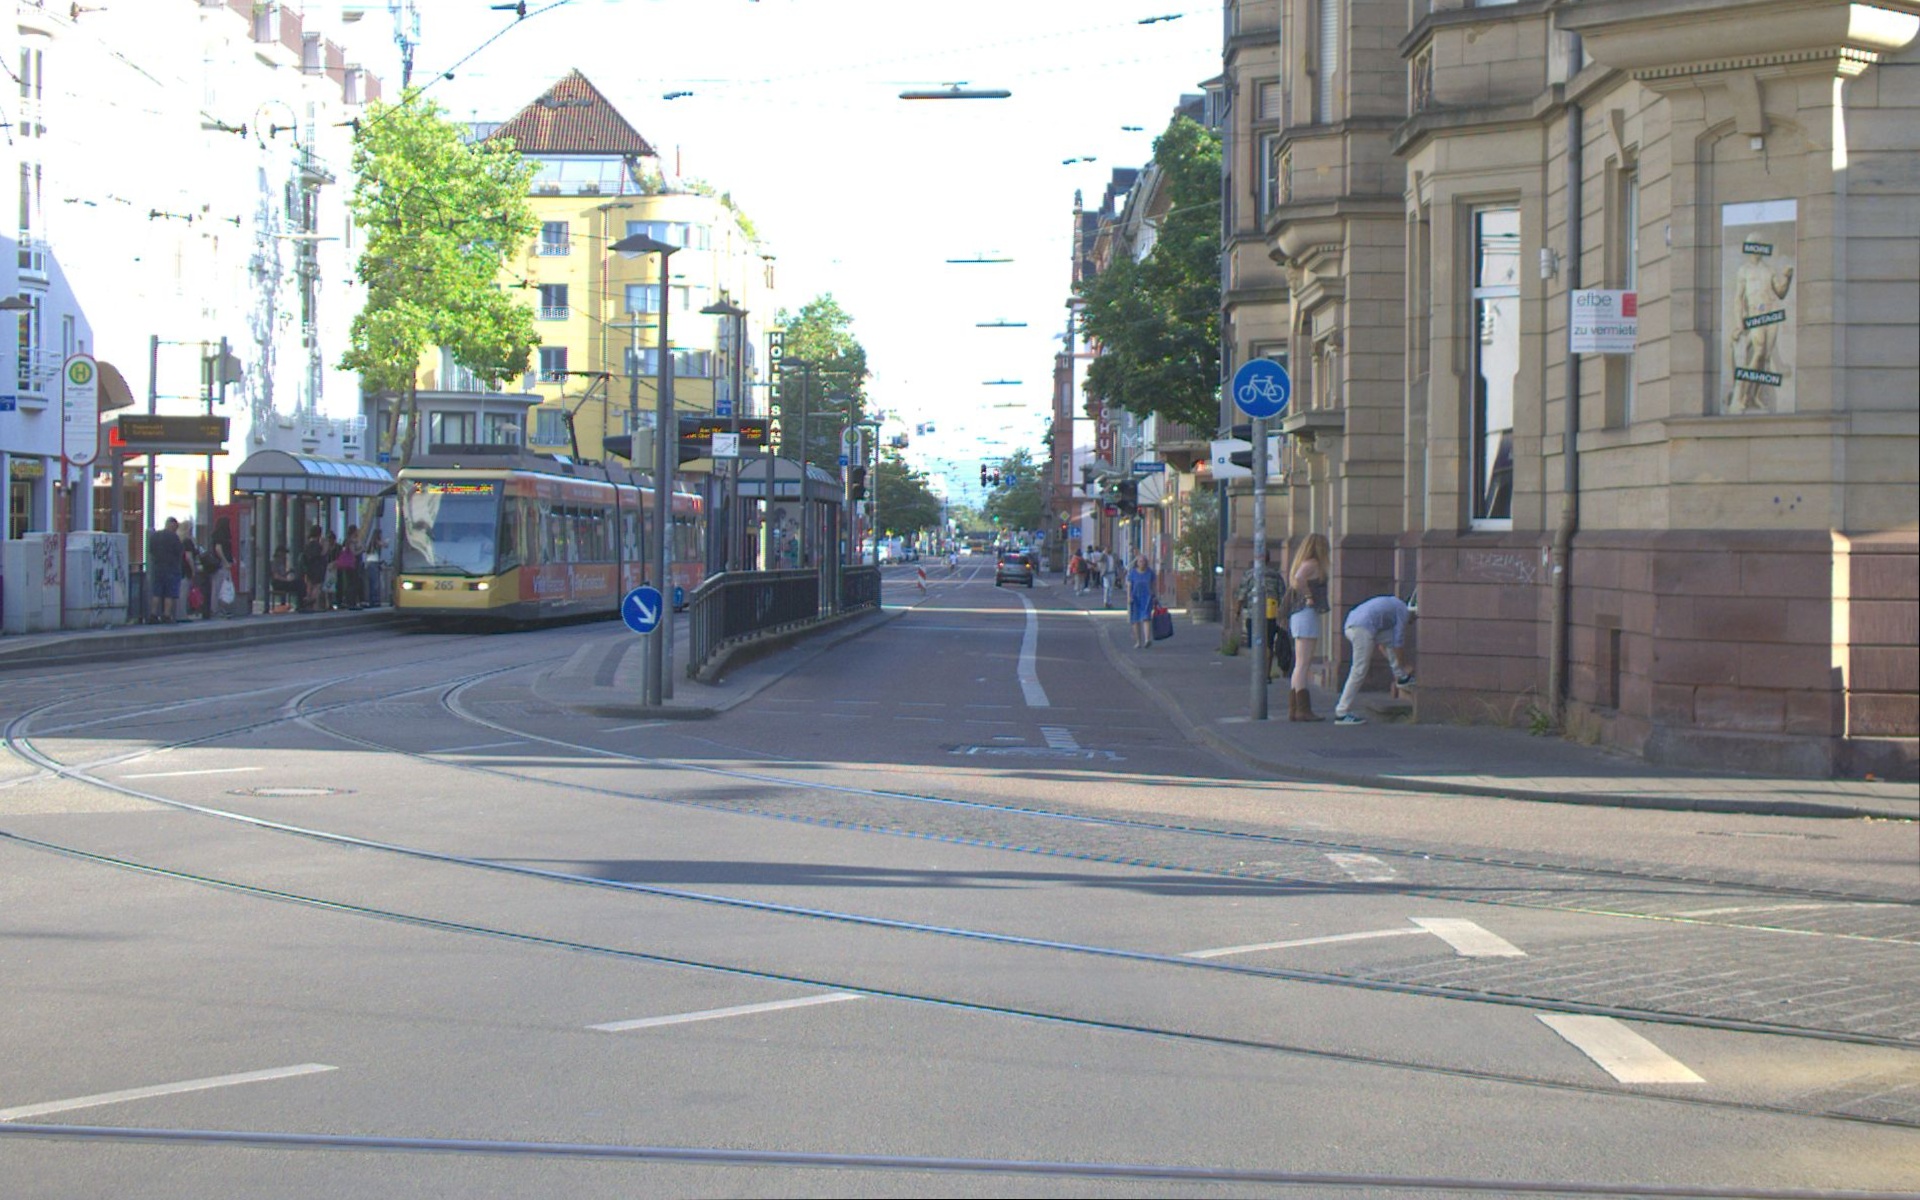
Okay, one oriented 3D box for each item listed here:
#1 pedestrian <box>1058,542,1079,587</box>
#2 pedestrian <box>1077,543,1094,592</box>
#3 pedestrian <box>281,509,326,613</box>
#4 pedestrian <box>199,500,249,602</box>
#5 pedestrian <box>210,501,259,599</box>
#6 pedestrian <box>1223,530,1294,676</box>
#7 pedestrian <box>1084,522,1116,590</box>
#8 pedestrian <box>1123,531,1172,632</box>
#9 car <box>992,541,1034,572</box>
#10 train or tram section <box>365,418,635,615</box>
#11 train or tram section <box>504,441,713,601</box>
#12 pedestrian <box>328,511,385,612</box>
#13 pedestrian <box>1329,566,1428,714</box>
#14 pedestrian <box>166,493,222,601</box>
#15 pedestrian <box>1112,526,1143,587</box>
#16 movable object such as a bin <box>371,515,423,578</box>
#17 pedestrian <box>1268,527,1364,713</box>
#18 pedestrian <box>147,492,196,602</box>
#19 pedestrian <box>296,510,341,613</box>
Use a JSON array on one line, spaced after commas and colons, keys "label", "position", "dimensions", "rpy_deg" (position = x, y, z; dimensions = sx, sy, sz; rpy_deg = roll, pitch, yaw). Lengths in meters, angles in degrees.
[{"label": "pedestrian", "position": [4.655, -1.535, 147.428], "dimensions": [0.843, 1.911, 0.662], "rpy_deg": [1, 1, -1]}, {"label": "pedestrian", "position": [4.702, -1.220, 128.661], "dimensions": [0.560, 1.790, 0.650], "rpy_deg": [1, 1, 8]}, {"label": "pedestrian", "position": [-12.099, -0.721, 63.361], "dimensions": [0.695, 1.898, 0.672], "rpy_deg": [1, 1, -2]}, {"label": "pedestrian", "position": [-12.316, -0.825, 57.540], "dimensions": [0.695, 1.685, 0.672], "rpy_deg": [0, 1, -23]}, {"label": "pedestrian", "position": [-12.538, -0.864, 59.391], "dimensions": [0.695, 1.685, 0.672], "rpy_deg": [0, 1, -23]}, {"label": "pedestrian", "position": [3.793, 0.027, 43.737], "dimensions": [0.801, 1.817, 0.797], "rpy_deg": [-1, 2, 1]}, {"label": "pedestrian", "position": [3.749, -1.193, 92.121], "dimensions": [0.713, 1.768, 0.773], "rpy_deg": [-2, 2, -2]}, {"label": "pedestrian", "position": [3.120, -0.307, 57.251], "dimensions": [0.762, 1.639, 0.832], "rpy_deg": [-1, 2, 1]}, {"label": "car", "position": [2.610, -2.164, 169.552], "dimensions": [1.993, 1.444, 4.000], "rpy_deg": [1, 2, 1]}, {"label": "train or tram section", "position": [-8.892, -1.755, 68.567], "dimensions": [2.885, 3.478, 14.168], "rpy_deg": [-1, 2, 2]}, {"label": "train or tram section", "position": [-8.265, -2.011, 83.072], "dimensions": [2.885, 3.478, 14.951], "rpy_deg": [-1, 2, 2]}, {"label": "pedestrian", "position": [-11.505, -0.733, 65.515], "dimensions": [0.931, 1.898, 0.881], "rpy_deg": [1, 1, -2]}, {"label": "pedestrian", "position": [3.839, 0.358, 31.549], "dimensions": [0.794, 1.327, 0.719], "rpy_deg": [-1, 0, -1]}, {"label": "pedestrian", "position": [-12.351, -0.859, 55.428], "dimensions": [0.765, 1.727, 0.519], "rpy_deg": [2, 1, 43]}, {"label": "pedestrian", "position": [4.497, -1.180, 92.465], "dimensions": [0.713, 1.597, 0.773], "rpy_deg": [-2, 2, -2]}, {"label": "movable object such as a bin", "position": [-11.749, -1.122, 71.780], "dimensions": [0.937, 1.282, 0.935], "rpy_deg": [1, 1, -1]}, {"label": "pedestrian", "position": [3.344, 0.186, 32.306], "dimensions": [0.794, 1.715, 0.719], "rpy_deg": [-1, 0, -1]}, {"label": "pedestrian", "position": [-12.241, -0.820, 53.368], "dimensions": [0.599, 1.686, 0.613], "rpy_deg": [1, 1, 1]}, {"label": "pedestrian", "position": [-11.927, -0.723, 63.917], "dimensions": [0.695, 1.898, 0.672], "rpy_deg": [1, 1, -2]}]
